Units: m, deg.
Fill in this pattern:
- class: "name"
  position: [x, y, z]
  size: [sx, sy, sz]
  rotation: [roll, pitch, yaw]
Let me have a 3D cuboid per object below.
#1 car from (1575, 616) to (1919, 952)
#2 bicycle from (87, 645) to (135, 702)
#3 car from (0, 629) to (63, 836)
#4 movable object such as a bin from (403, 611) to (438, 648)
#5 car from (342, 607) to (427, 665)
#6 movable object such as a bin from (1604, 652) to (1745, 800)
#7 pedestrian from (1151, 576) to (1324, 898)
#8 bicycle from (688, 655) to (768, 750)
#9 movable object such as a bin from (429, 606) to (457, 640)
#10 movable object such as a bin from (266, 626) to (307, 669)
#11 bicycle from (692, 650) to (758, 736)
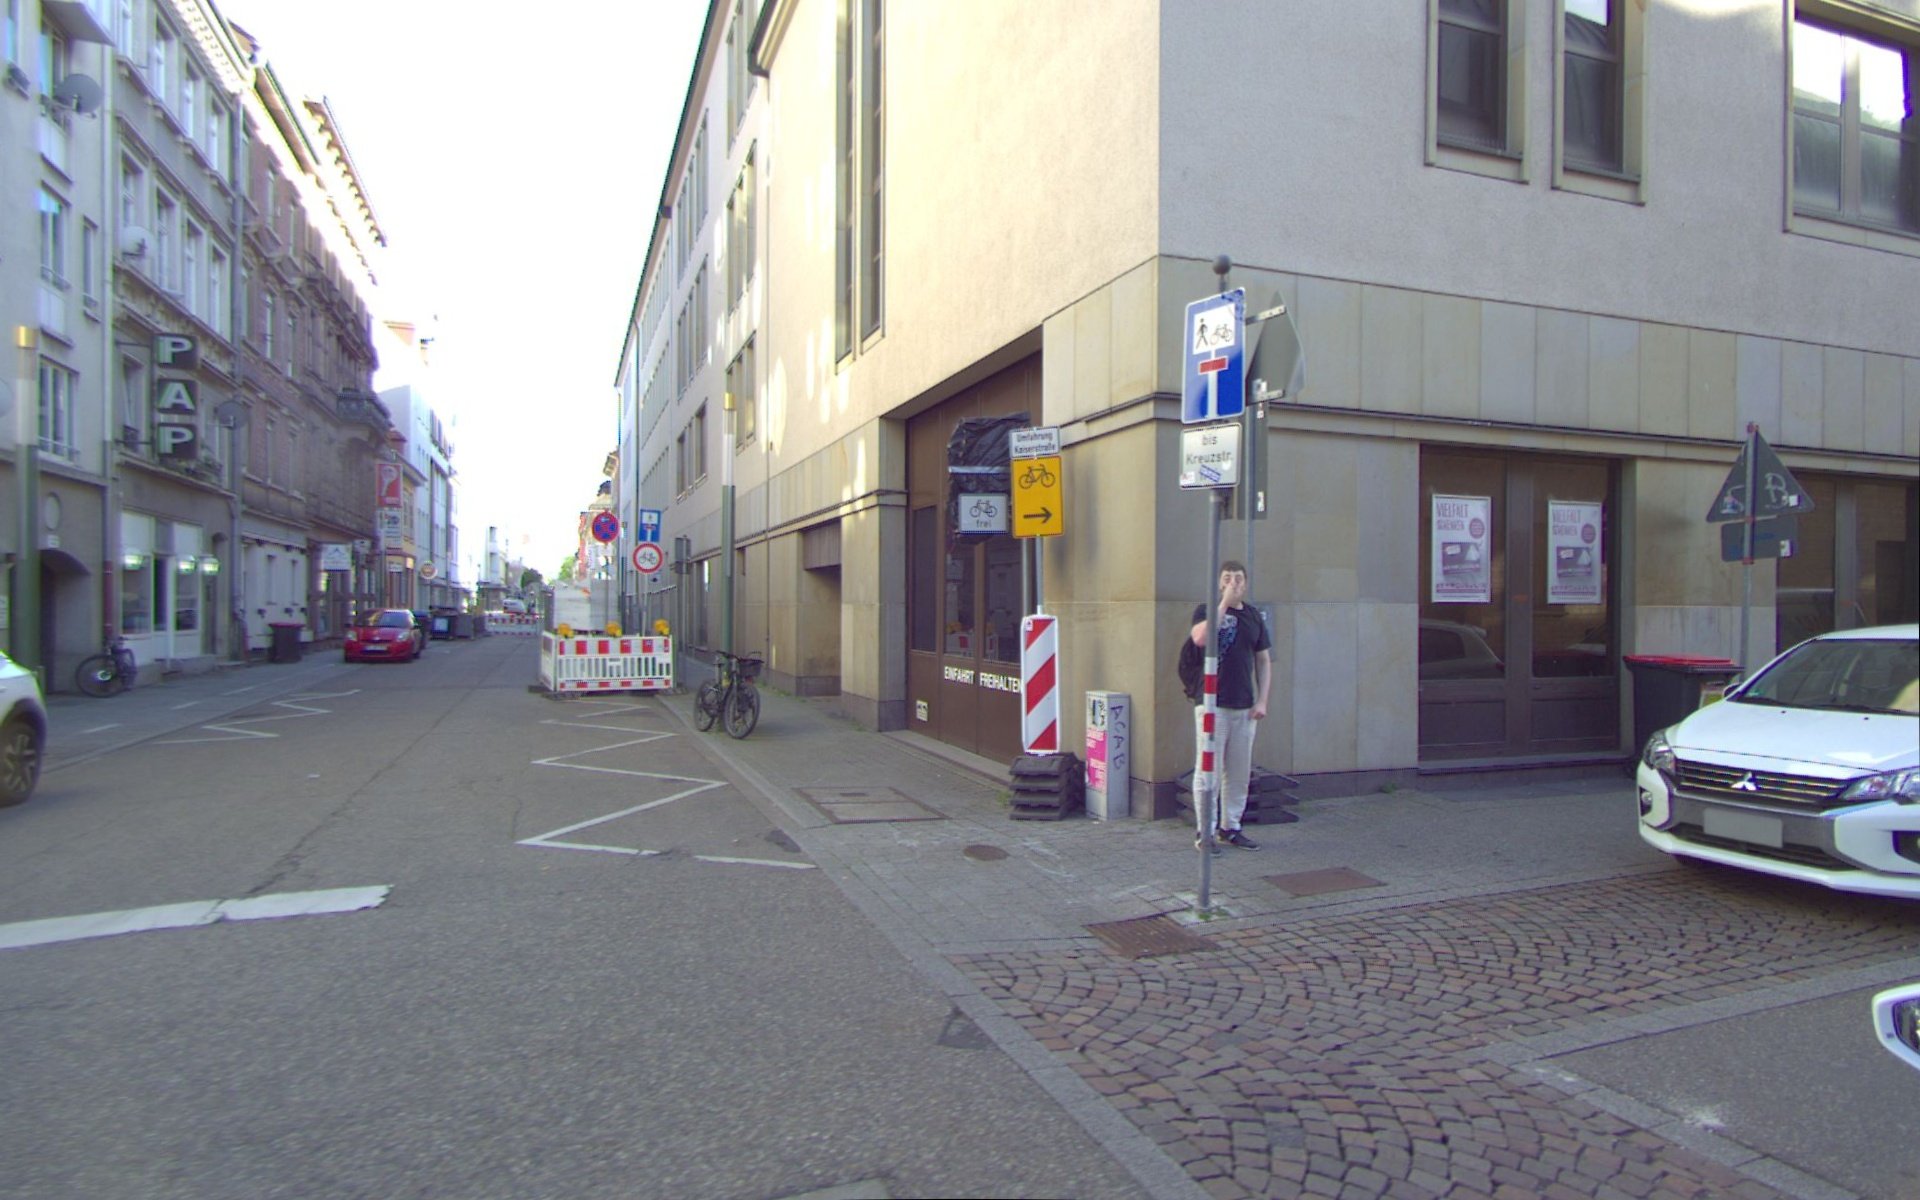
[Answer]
- class: "car"
  position: [5.785, 0.862, 6.032]
  size: [3.746, 1.512, 1.733]
  rotation: [0, -1, -24]
- class: "bicycle"
  position: [-14.572, 1.252, 17.264]
  size: [0.215, 0.869, 1.061]
  rotation: [0, 2, -17]
- class: "car"
  position: [-8.013, 1.026, 6.568]
  size: [1.716, 1.614, 3.954]
  rotation: [1, -1, -18]
- class: "movable object such as a bin"
  position: [-20.123, 1.093, 37.485]
  size: [1.069, 1.367, 0.902]
  rotation: [1, 0, -25]
- class: "car"
  position: [-16.763, 1.015, 29.411]
  size: [1.769, 1.545, 3.975]
  rotation: [1, -1, -25]
- class: "movable object such as a bin"
  position: [5.984, 1.028, 8.433]
  size: [0.582, 1.116, 0.735]
  rotation: [0, 2, -21]
- class: "pedestrian"
  position: [1.741, 0.814, 6.403]
  size: [0.705, 1.879, 0.858]
  rotation: [1, -2, -19]
- class: "bicycle"
  position: [-2.999, 1.278, 12.872]
  size: [0.299, 1.065, 1.772]
  rotation: [-1, 0, -37]
- class: "movable object such as a bin"
  position: [-24.174, 1.067, 46.983]
  size: [1.069, 1.564, 0.902]
  rotation: [1, 0, -25]
- class: "movable object such as a bin"
  position: [-17.978, 1.254, 26.827]
  size: [0.826, 1.062, 0.749]
  rotation: [0, 2, -27]
- class: "bicycle"
  position: [-3.279, 1.263, 13.932]
  size: [0.299, 1.065, 1.526]
  rotation: [-1, 0, -37]
